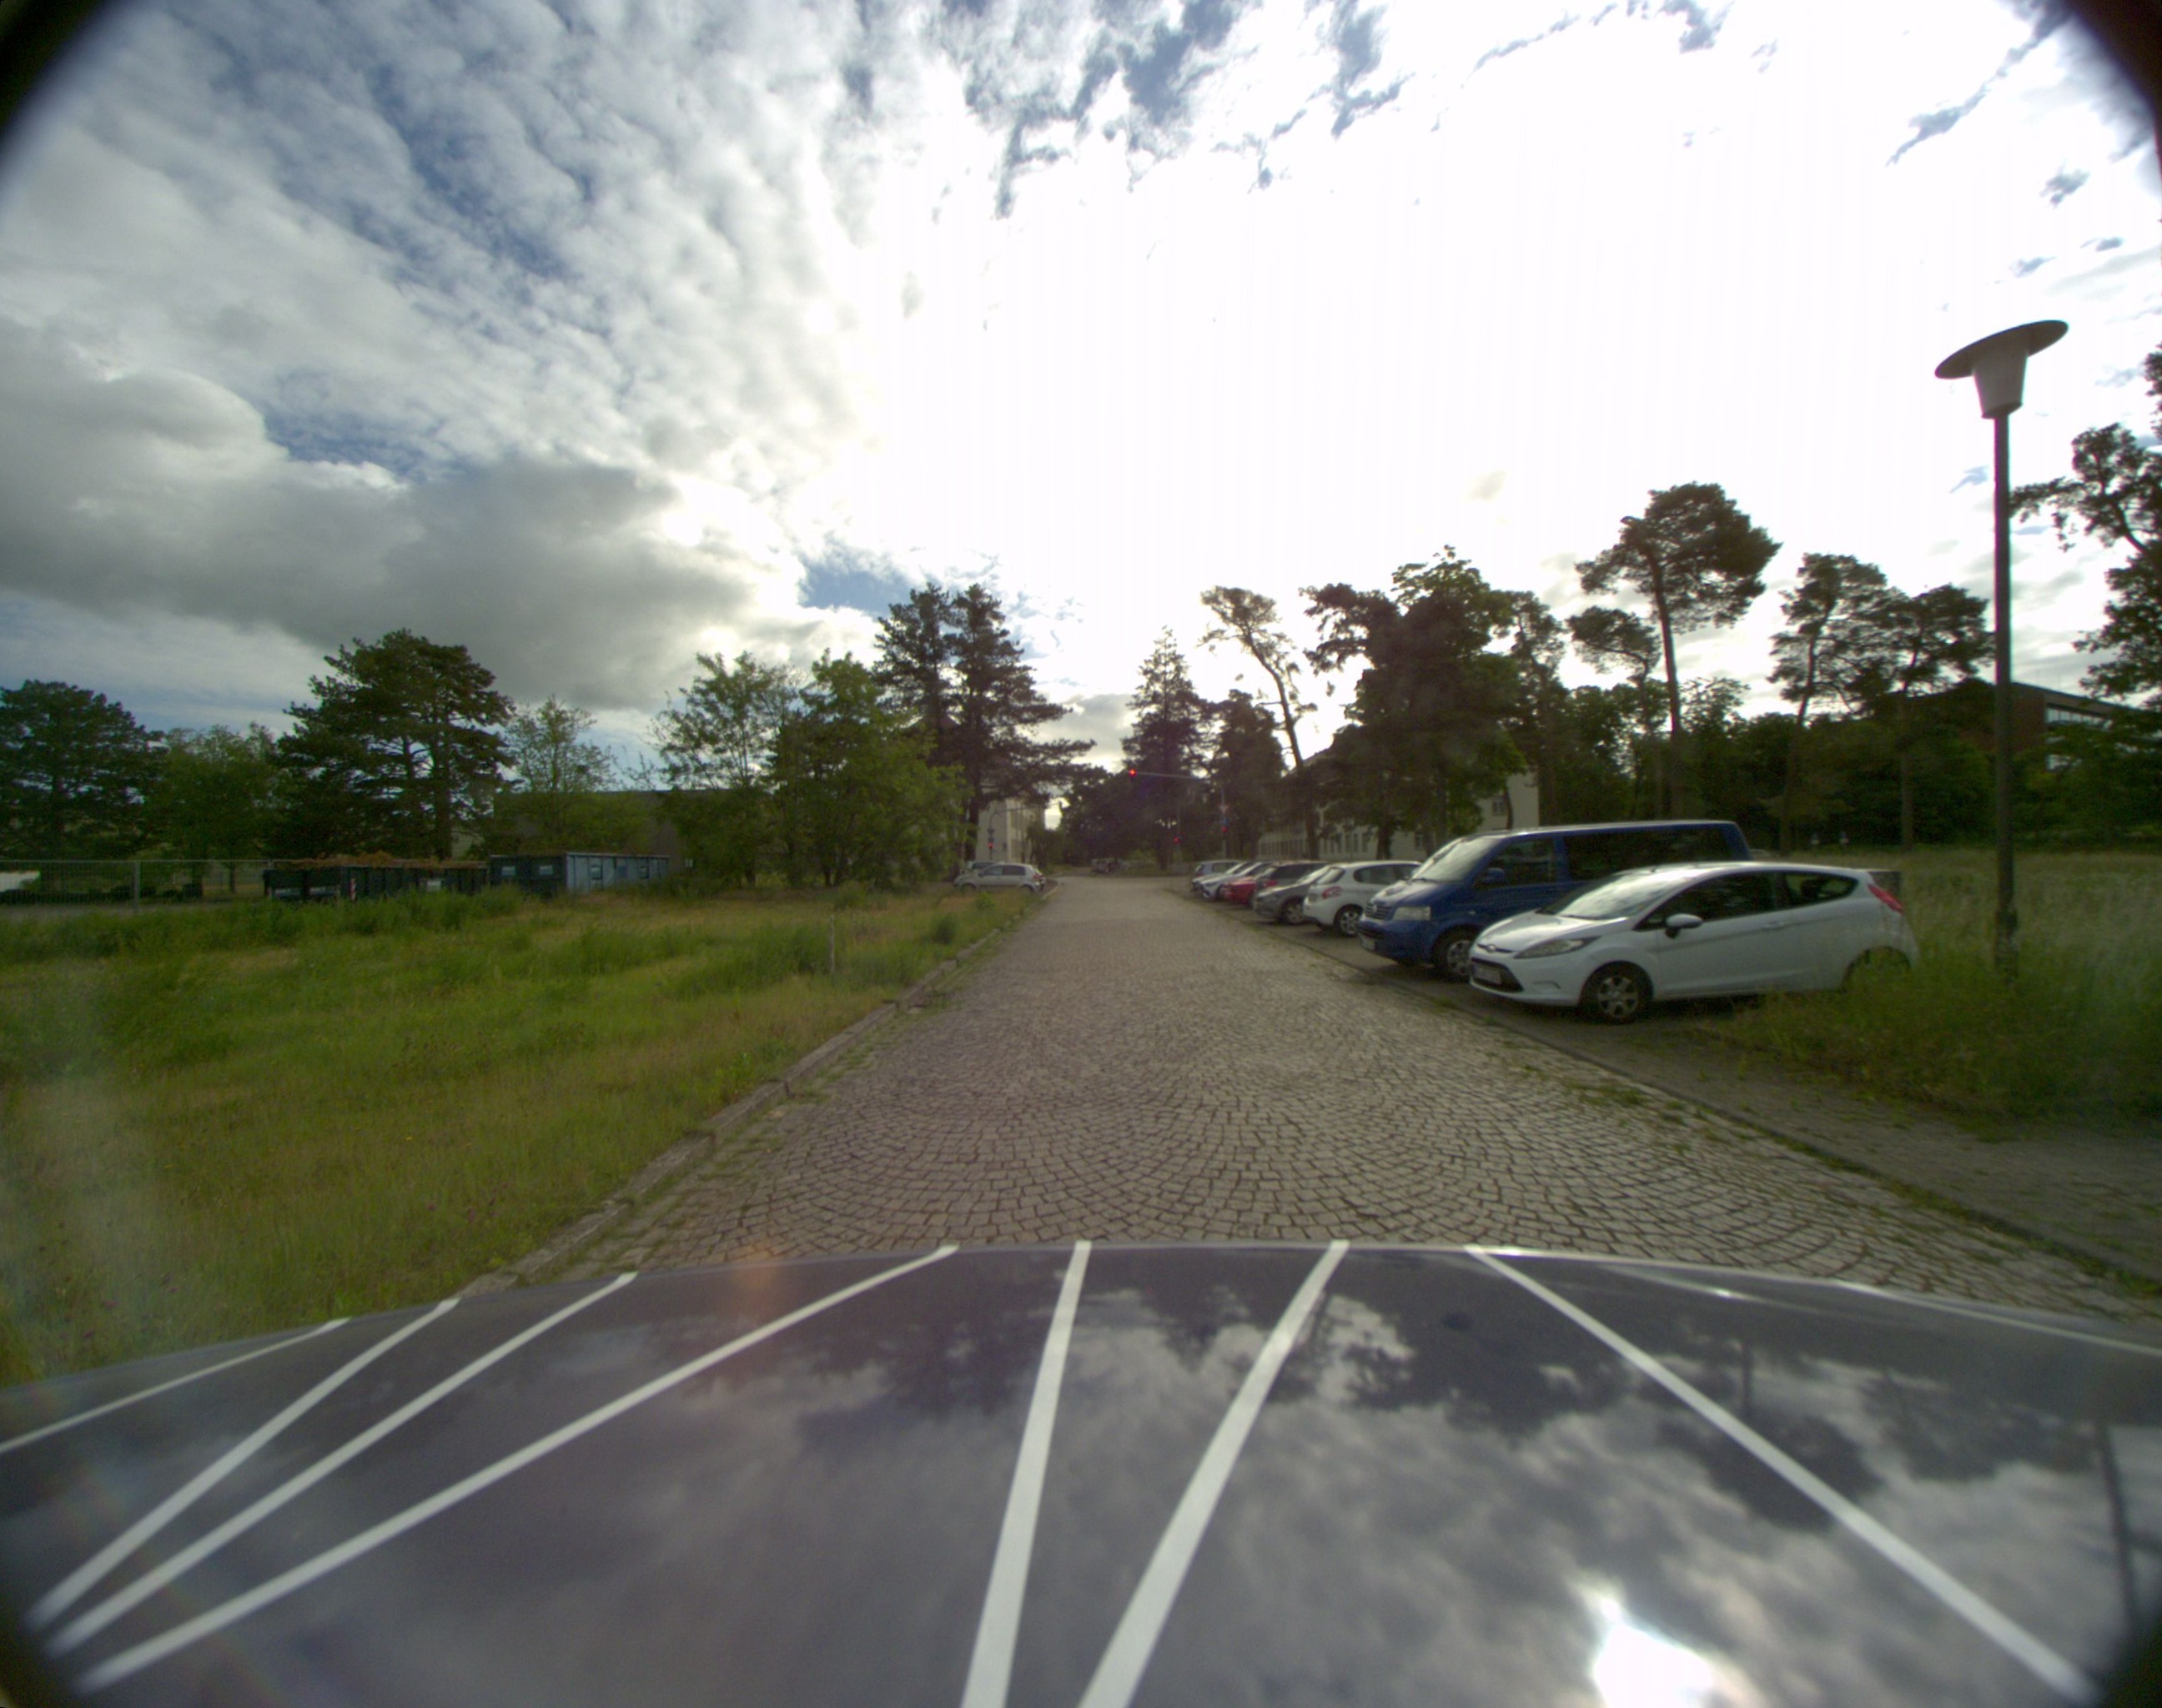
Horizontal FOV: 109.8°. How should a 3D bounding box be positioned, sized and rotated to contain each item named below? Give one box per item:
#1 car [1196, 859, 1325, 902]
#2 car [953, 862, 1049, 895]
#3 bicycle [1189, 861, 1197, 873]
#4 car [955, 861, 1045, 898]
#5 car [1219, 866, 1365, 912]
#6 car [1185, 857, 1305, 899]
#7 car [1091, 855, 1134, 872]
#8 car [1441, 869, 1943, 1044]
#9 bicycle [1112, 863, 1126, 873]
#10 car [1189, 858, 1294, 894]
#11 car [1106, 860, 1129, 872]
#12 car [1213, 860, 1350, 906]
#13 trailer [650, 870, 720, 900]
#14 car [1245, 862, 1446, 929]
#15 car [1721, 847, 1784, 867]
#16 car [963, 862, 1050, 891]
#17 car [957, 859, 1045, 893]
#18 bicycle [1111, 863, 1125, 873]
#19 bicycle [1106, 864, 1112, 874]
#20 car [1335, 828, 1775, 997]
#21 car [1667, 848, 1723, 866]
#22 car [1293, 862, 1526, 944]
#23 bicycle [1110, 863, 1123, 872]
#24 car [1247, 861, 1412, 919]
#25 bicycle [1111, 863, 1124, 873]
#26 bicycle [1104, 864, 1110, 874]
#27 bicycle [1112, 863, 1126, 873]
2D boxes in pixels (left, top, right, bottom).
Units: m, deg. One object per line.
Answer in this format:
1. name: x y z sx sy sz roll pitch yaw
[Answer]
1. car: 6.717 0.970 28.834 4.447 1.447 1.949 -2 1 2
2. car: -3.750 1.157 36.183 4.377 1.397 1.797 2 -1 0
3. bicycle: 10.400 1.173 70.566 0.497 1.068 1.416 -4 0 -2
4. car: -3.530 1.127 33.477 3.782 1.471 1.743 2 -1 -2
5. car: 6.614 1.091 24.145 4.141 1.275 1.764 -2 0 1
6. car: 6.731 0.977 31.520 4.513 1.528 1.870 -2 1 -2
7. car: 4.190 1.299 101.094 5.172 1.905 2.034 -3 0 -12
8. car: 6.047 0.955 7.855 3.803 1.484 1.726 -1 0 -1
9. bicycle: 4.230 1.567 85.395 1.456 1.032 0.497 -4 1 -4
10. car: 7.127 0.959 34.141 4.339 1.462 1.827 -2 1 2
11. car: 4.714 1.566 97.747 2.771 1.407 1.592 -3 0 0
12. car: 6.912 0.996 26.522 4.264 1.446 1.855 -2 0 1
13. trailer: -16.925 1.329 32.533 2.318 1.163 1.144 -2 1 0
14. car: 6.346 0.978 18.584 4.314 1.472 1.731 -2 0 3
15. car: 60.005 0.253 67.960 4.054 1.601 1.717 -1 1 3
16. car: -4.011 1.201 41.453 4.562 1.417 1.826 2 0 -2
17. car: -4.070 1.098 38.875 4.342 1.565 1.826 2 0 -4
18. bicycle: 4.030 1.548 82.983 1.457 1.032 0.497 -4 1 -7
19. bicycle: 2.980 1.590 80.002 0.497 1.068 1.416 -4 0 0
20. car: 6.202 0.740 10.418 4.721 1.969 2.038 -2 0 0
21. car: 60.841 0.302 75.352 4.053 1.601 1.717 -1 1 5
22. car: 6.638 0.966 15.711 4.014 1.493 1.843 -2 0 3
23. bicycle: 4.176 1.599 89.695 1.456 1.032 0.497 -4 1 -4
24. car: 6.913 0.993 21.457 4.097 1.472 1.755 -2 0 2
25. bicycle: 4.148 1.587 86.556 1.456 1.032 0.497 -4 1 -4
26. bicycle: 2.819 1.599 81.609 0.497 1.032 1.416 -4 0 0
27. bicycle: 4.250 1.572 84.810 1.456 1.032 0.497 -4 1 -4
